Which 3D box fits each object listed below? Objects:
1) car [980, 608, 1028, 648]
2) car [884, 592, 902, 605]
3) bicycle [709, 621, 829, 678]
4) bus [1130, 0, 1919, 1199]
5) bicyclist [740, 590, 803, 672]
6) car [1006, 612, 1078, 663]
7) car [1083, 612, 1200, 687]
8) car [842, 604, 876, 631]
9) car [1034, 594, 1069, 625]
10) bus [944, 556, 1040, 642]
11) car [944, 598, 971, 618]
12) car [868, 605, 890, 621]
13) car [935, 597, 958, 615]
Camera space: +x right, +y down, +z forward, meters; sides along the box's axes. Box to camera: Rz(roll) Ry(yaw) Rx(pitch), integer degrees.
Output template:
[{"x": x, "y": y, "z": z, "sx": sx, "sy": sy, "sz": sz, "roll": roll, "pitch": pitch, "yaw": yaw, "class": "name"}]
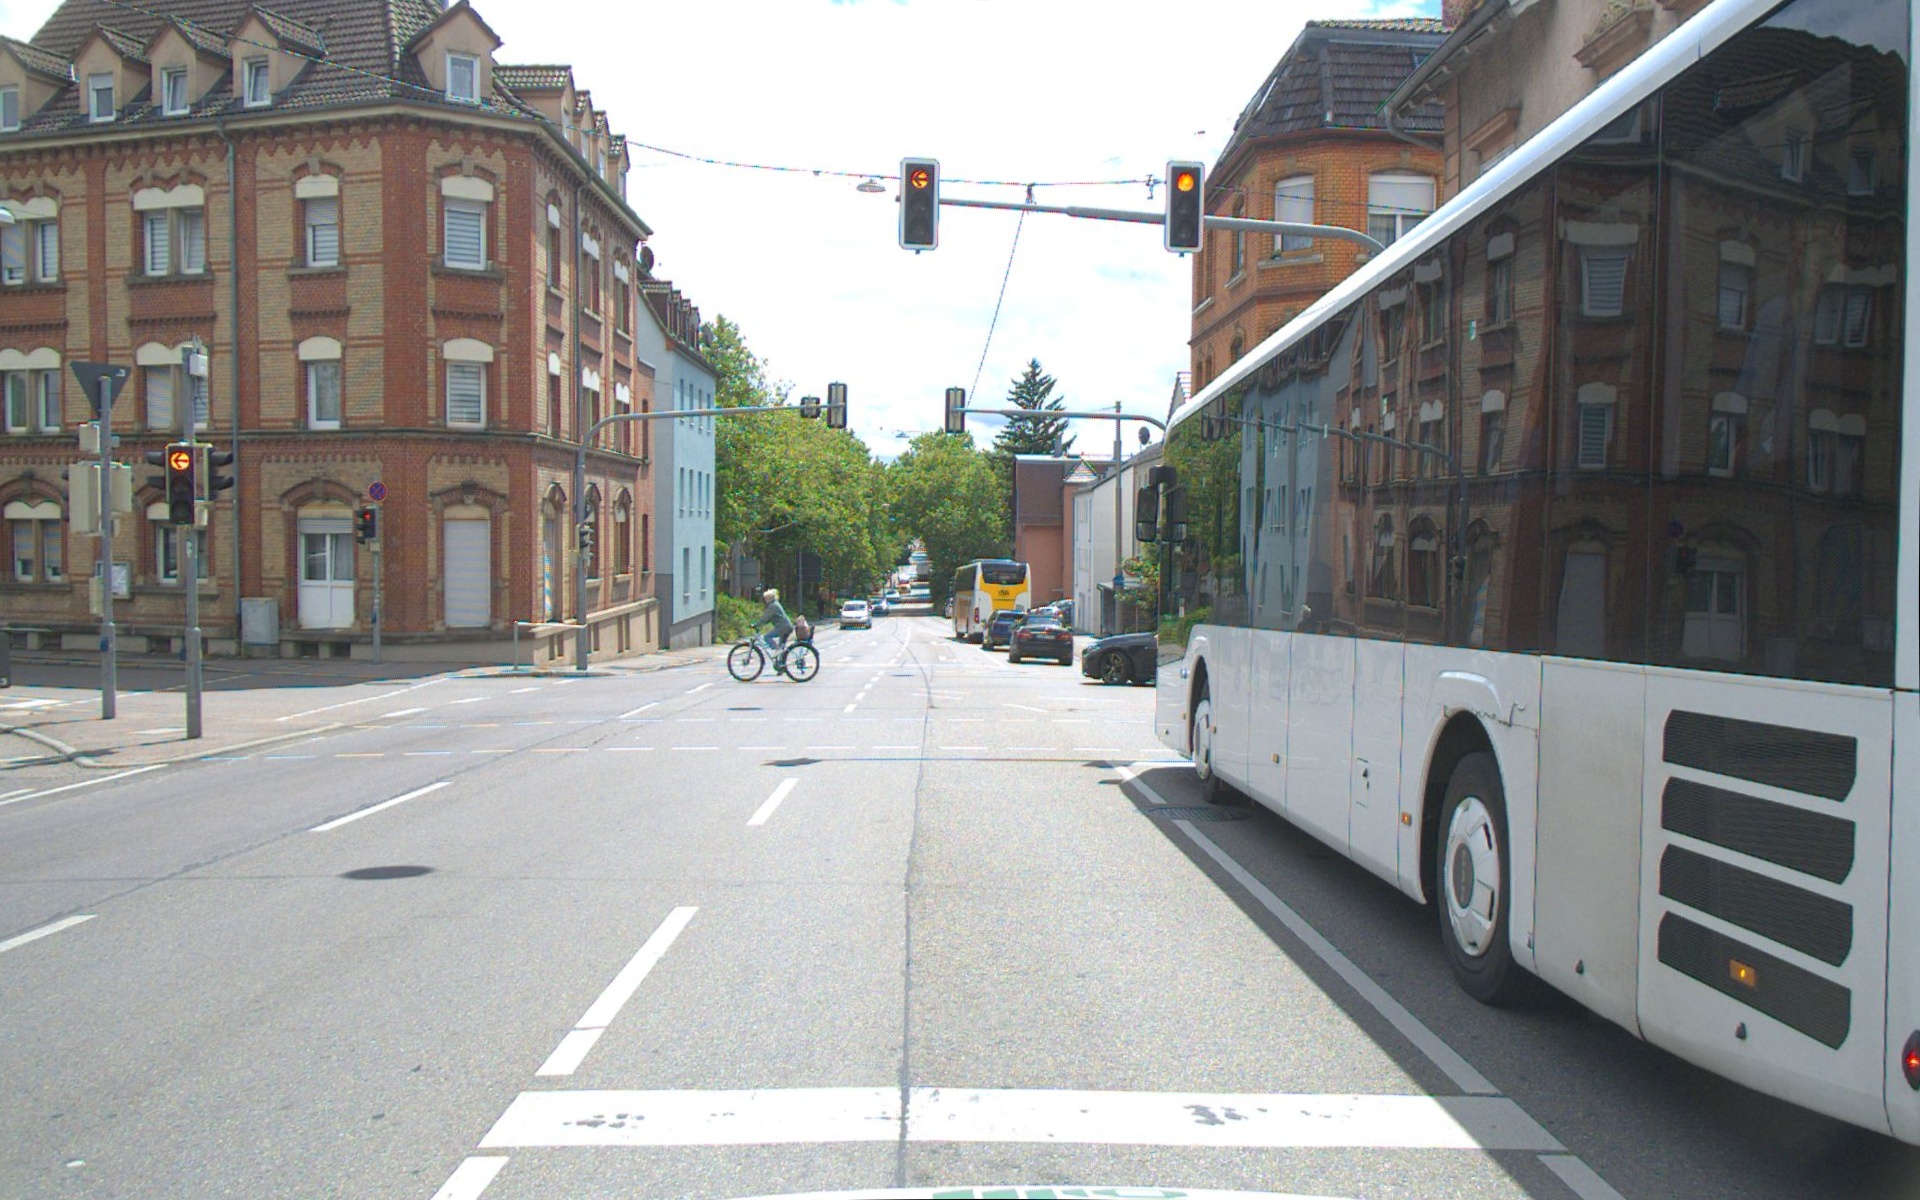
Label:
[{"x": 1.591, "y": 1.017, "z": 61.069, "sx": 1.576, "sy": 1.400, "sz": 3.999, "roll": 0, "pitch": 0, "yaw": -1, "class": "car"}, {"x": -8.602, "y": -0.173, "z": 212.478, "sx": 2.162, "sy": 1.641, "sz": 4.546, "roll": 0, "pitch": 0, "yaw": -1, "class": "car"}, {"x": -3.584, "y": 0.934, "z": 31.093, "sx": 2.138, "sy": 1.037, "sz": 0.606, "roll": 0, "pitch": 0, "yaw": 7, "class": "bicycle"}, {"x": 3.139, "y": -0.206, "z": 9.302, "sx": 2.845, "sy": 3.571, "sz": 12.484, "roll": 1, "pitch": 0, "yaw": -1, "class": "bus"}, {"x": -3.541, "y": 0.576, "z": 31.102, "sx": 1.048, "sy": 1.526, "sz": 0.590, "roll": 0, "pitch": 0, "yaw": 7, "class": "bicyclist"}, {"x": 2.355, "y": 1.062, "z": 48.423, "sx": 1.827, "sy": 1.391, "sz": 4.546, "roll": 0, "pitch": 0, "yaw": -1, "class": "car"}, {"x": 3.447, "y": 0.918, "z": 32.008, "sx": 1.761, "sy": 1.298, "sz": 3.999, "roll": -1, "pitch": 0, "yaw": -1, "class": "car"}, {"x": -6.180, "y": 1.043, "z": 101.873, "sx": 1.896, "sy": 1.591, "sz": 4.388, "roll": 0, "pitch": 0, "yaw": -1, "class": "car"}, {"x": 5.150, "y": 0.535, "z": 93.376, "sx": 1.731, "sy": 1.695, "sz": 3.999, "roll": 0, "pitch": 0, "yaw": -1, "class": "car"}, {"x": 1.336, "y": -0.053, "z": 76.946, "sx": 3.236, "sy": 3.694, "sz": 11.232, "roll": -1, "pitch": 0, "yaw": -5, "class": "bus"}, {"x": -0.203, "y": 0.585, "z": 129.372, "sx": 1.843, "sy": 1.518, "sz": 3.997, "roll": 0, "pitch": 0, "yaw": -4, "class": "car"}, {"x": -7.397, "y": 1.148, "z": 151.427, "sx": 1.827, "sy": 1.391, "sz": 4.546, "roll": 0, "pitch": 0, "yaw": -1, "class": "car"}, {"x": -1.233, "y": 0.511, "z": 146.333, "sx": 1.843, "sy": 1.518, "sz": 3.997, "roll": 0, "pitch": 0, "yaw": -4, "class": "car"}]
